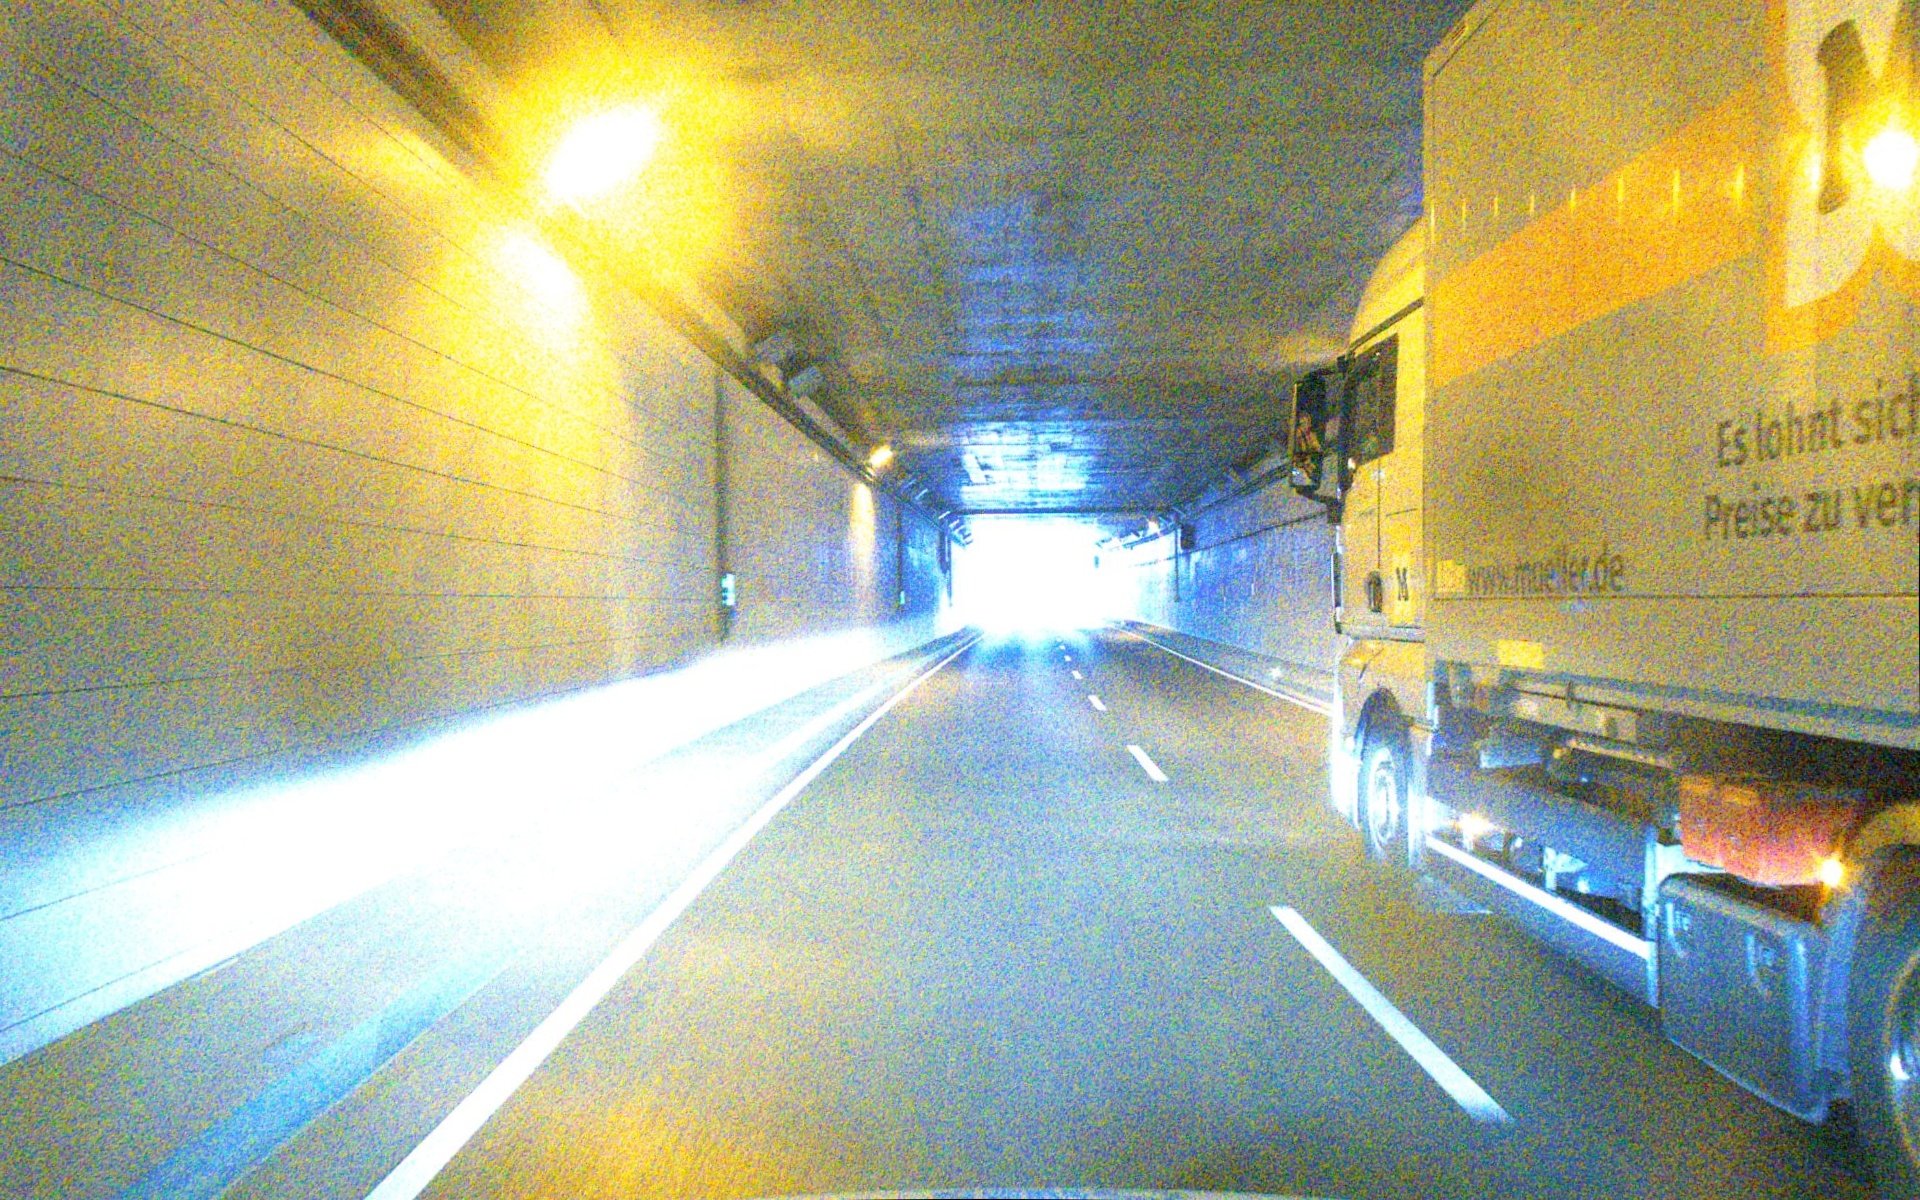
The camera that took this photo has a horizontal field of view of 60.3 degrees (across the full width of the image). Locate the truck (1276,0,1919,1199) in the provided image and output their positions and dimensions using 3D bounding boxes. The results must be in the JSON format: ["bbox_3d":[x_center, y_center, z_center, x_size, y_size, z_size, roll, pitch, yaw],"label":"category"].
[{"bbox_3d":[3.393,-0.566,4.893,2.830,3.982,9.907,-1,0,-1],"label":"truck"}]

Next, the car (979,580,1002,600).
[{"bbox_3d":[2.878,-0.910,155.149,1.832,1.763,3.997,-1,0,-4],"label":"car"}]

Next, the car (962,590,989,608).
[{"bbox_3d":[1.300,-0.071,139.946,1.805,1.413,3.995,-1,0,-6],"label":"car"}]
